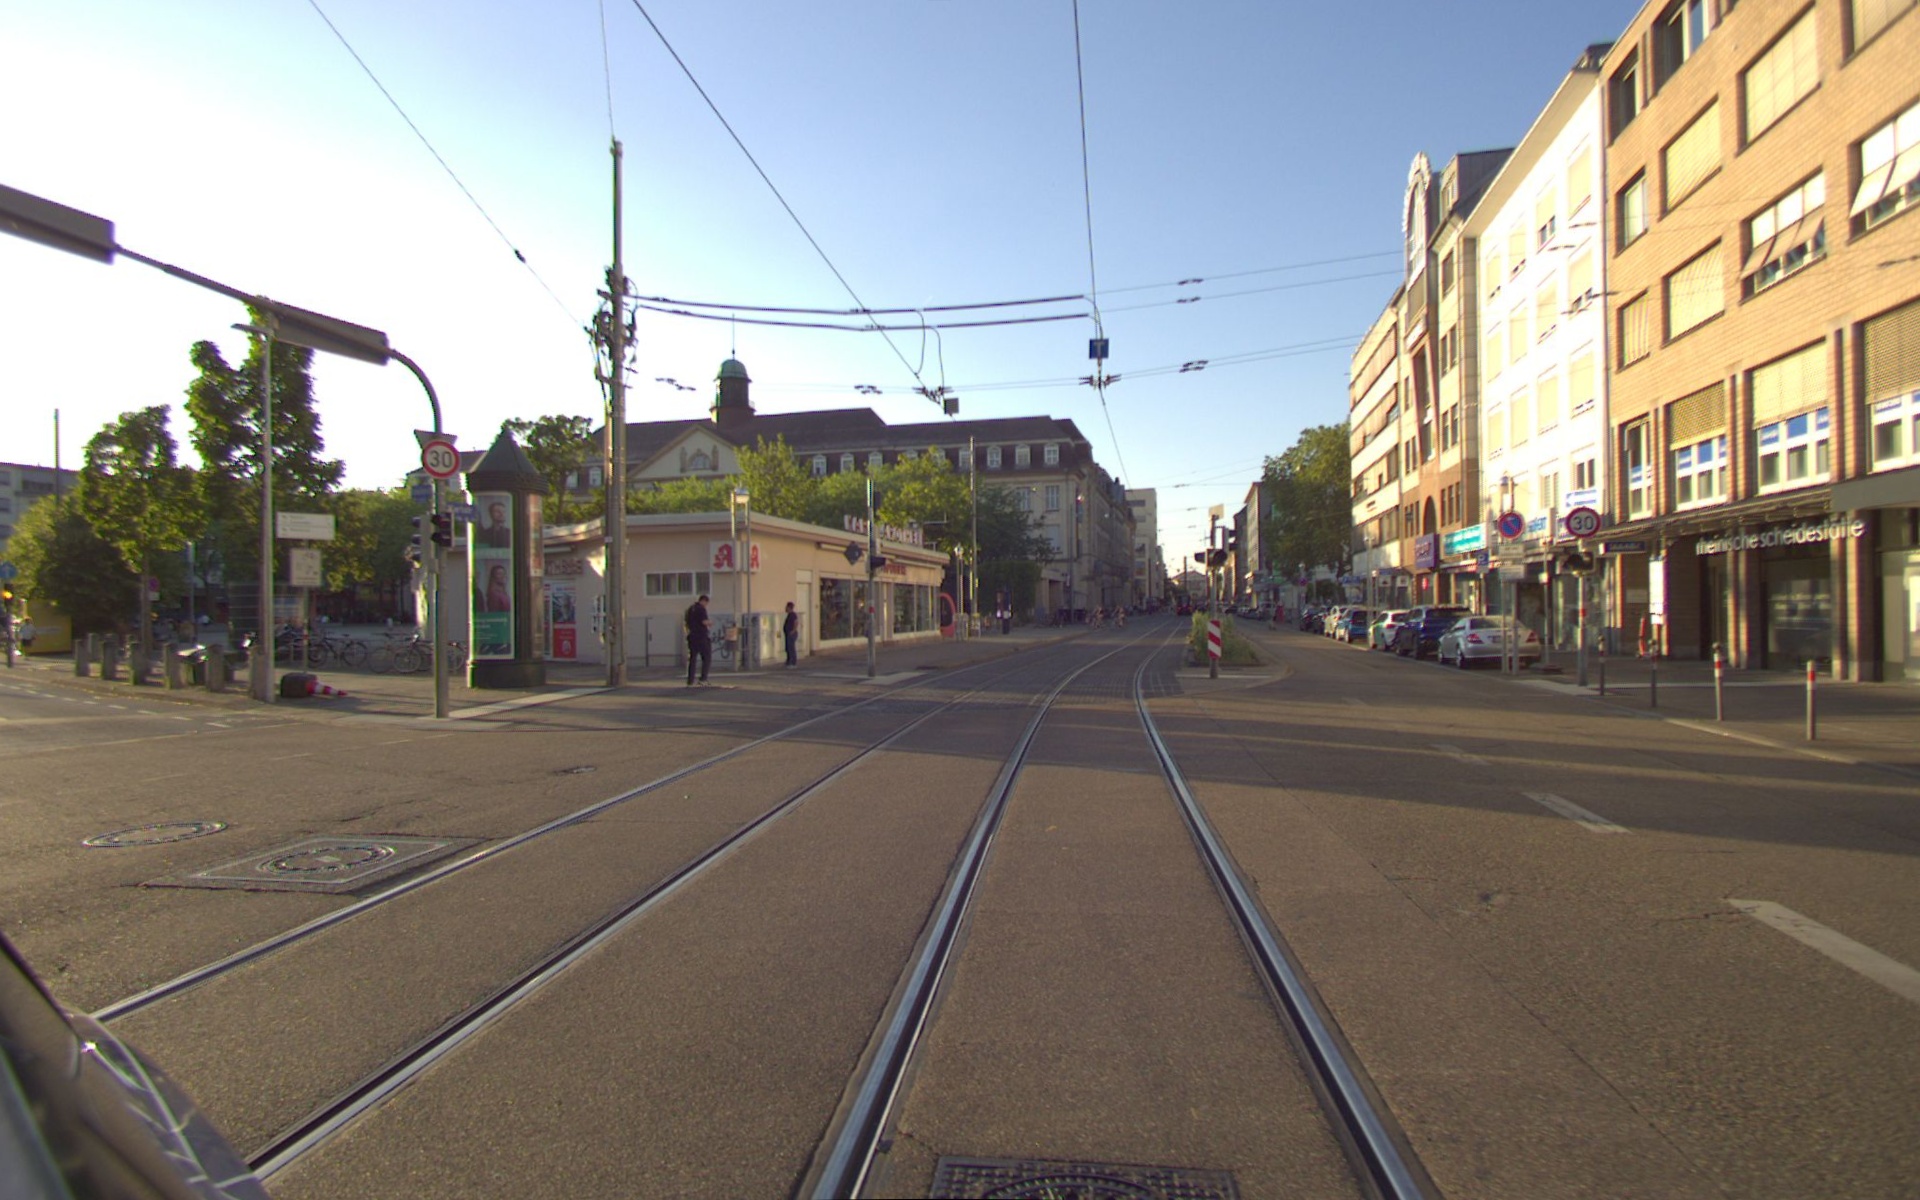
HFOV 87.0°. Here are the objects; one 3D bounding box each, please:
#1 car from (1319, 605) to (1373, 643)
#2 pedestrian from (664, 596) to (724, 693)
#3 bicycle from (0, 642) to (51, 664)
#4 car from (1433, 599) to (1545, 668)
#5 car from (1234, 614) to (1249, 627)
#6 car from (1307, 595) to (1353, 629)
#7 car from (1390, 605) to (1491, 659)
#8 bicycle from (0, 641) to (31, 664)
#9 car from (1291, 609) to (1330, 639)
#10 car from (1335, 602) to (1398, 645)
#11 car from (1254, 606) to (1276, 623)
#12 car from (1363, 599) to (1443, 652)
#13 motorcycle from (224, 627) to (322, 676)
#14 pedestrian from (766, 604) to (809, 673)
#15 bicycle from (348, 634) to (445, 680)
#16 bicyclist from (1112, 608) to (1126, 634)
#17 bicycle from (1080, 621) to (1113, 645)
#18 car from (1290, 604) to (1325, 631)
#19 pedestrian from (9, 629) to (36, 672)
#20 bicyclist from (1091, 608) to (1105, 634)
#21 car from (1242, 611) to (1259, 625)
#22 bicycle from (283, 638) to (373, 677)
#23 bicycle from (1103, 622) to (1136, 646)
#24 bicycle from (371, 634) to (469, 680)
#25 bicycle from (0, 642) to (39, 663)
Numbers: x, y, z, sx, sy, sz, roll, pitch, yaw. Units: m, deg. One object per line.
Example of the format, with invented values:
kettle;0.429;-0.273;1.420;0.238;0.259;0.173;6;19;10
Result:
car;18.899;1.154;49.735;2.031;1.750;4.585;-2;-1;16
pedestrian;-5.069;0.827;19.322;0.869;1.798;0.907;-1;1;0
bicycle;-46.301;2.602;49.737;0.673;0.966;2.367;0;1;45
car;13.497;0.811;26.079;1.785;1.587;4.276;-2;-1;18
car;43.448;3.158;156.217;2.031;1.750;4.585;-2;-1;16
car;20.572;0.655;56.382;2.031;1.750;4.585;-2;-1;16
car;14.422;0.923;30.642;2.031;1.487;4.584;-2;-1;17
bicycle;-48.622;2.672;51.167;0.673;1.079;2.367;0;1;45
car;22.053;1.507;63.874;2.031;1.750;4.585;-2;-1;16
car;17.840;1.007;44.582;2.031;1.750;4.585;-2;-1;16
car;32.338;1.535;107.402;2.031;1.750;4.585;-2;-1;16
car;16.069;0.893;36.946;2.031;1.750;4.585;-2;-1;16
motorcycle;-21.588;1.609;31.838;0.779;1.376;2.418;-2;0;43
pedestrian;-4.346;0.956;25.504;0.895;1.689;0.779;-1;1;3
bicycle;-15.080;1.491;27.141;0.777;1.096;2.198;-1;0;31
bicyclist;10.728;1.444;68.438;0.644;1.724;0.622;-1;1;-33
bicycle;9.484;2.280;70.121;2.458;1.497;0.595;-2;1;-33
car;23.792;1.156;69.413;2.031;1.750;4.585;-2;-1;16
pedestrian;-38.224;2.033;41.259;0.768;1.689;0.907;-2;1;-45
bicyclist;9.580;1.442;70.190;0.776;1.733;0.595;-1;1;-33
car;37.746;2.285;131.356;2.031;1.750;4.585;-2;-1;16
bicycle;-18.801;1.690;30.157;0.778;1.096;2.155;-1;-1;37
bicycle;10.777;2.266;68.468;2.378;1.497;0.617;-2;1;-33
bicycle;-14.130;1.471;26.542;0.777;1.096;2.174;-1;0;31
bicycle;-47.296;2.629;50.179;0.673;0.966;2.367;0;1;45
